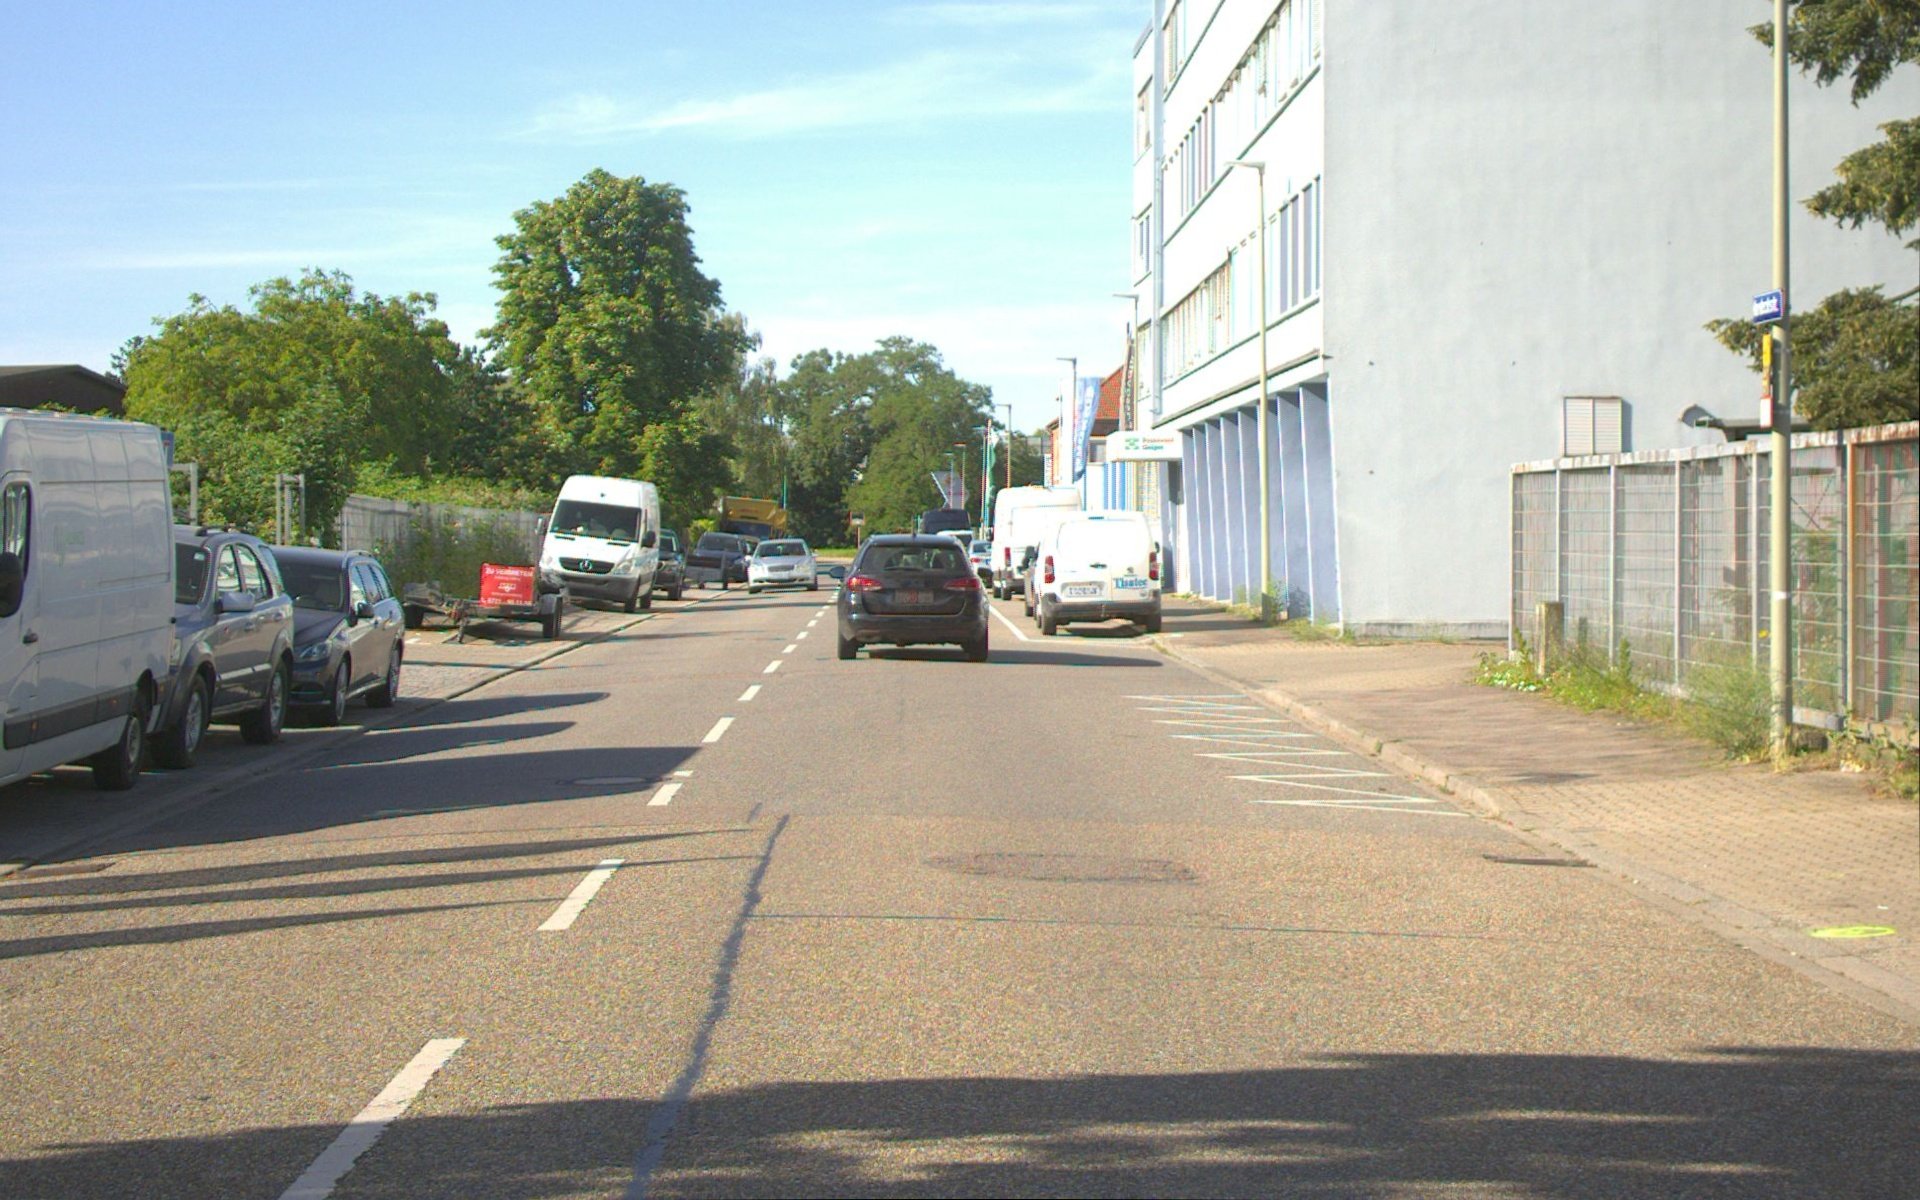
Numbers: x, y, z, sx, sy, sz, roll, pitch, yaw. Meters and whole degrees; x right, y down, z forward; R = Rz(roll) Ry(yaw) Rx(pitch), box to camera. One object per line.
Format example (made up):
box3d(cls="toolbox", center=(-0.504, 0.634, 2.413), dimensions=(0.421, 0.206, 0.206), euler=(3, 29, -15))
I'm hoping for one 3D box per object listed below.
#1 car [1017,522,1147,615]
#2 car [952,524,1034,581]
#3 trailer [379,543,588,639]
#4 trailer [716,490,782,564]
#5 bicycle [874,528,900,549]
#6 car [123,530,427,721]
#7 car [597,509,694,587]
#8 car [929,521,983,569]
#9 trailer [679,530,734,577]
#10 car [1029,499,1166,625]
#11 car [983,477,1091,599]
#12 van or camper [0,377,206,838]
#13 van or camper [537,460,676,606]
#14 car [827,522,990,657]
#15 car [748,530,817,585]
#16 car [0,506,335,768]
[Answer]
box3d(cls="car", center=(2.095, -0.576, 60.380), dimensions=(1.889, 1.555, 5.091), euler=(0, 1, -2))
box3d(cls="car", center=(0.842, -1.227, 90.054), dimensions=(1.894, 1.400, 5.125), euler=(2, 1, -2))
box3d(cls="trailer", center=(-6.984, -0.182, 51.075), dimensions=(2.376, 1.076, 6.246), euler=(4, 2, -2))
box3d(cls="trailer", center=(-9.977, -3.431, 163.215), dimensions=(2.991, 3.431, 8.162), euler=(0, 1, -3))
box3d(cls="bicycle", center=(-4.322, -3.655, 203.909), dimensions=(0.803, 1.263, 2.259), euler=(1, 1, -20))
box3d(cls="car", center=(-6.222, 0.169, 31.768), dimensions=(1.799, 1.505, 5.003), euler=(4, 1, -1))
box3d(cls="car", center=(-7.551, -1.267, 82.952), dimensions=(2.030, 1.688, 5.108), euler=(4, 1, -3))
box3d(cls="car", center=(-0.175, -2.155, 134.389), dimensions=(1.885, 1.791, 5.104), euler=(2, 1, -2))
box3d(cls="trailer", center=(-7.683, -1.419, 104.185), dimensions=(1.476, 1.349, 3.079), euler=(2, 1, -1))
box3d(cls="car", center=(2.054, -0.599, 52.665), dimensions=(1.889, 1.826, 5.091), euler=(0, 1, 0))
box3d(cls="car", center=(1.706, -1.468, 78.360), dimensions=(1.993, 2.589, 6.052), euler=(-2, 2, -3))
box3d(cls="van or camper", center=(-6.325, -0.064, 20.924), dimensions=(2.070, 2.540, 6.404), euler=(4, 1, -2))
box3d(cls="van or camper", center=(-7.112, -1.374, 69.693), dimensions=(1.966, 2.676, 5.948), euler=(5, 1, 0))
box3d(cls="car", center=(-0.618, -0.165, 41.172), dimensions=(1.847, 1.525, 4.000), euler=(-1, 1, -1))
box3d(cls="car", center=(-4.812, -1.177, 93.478), dimensions=(1.747, 1.442, 4.361), euler=(0, 1, -1))
box3d(cls="car", center=(-6.341, 0.204, 26.483), dimensions=(1.994, 1.732, 4.575), euler=(4, 1, 2))
